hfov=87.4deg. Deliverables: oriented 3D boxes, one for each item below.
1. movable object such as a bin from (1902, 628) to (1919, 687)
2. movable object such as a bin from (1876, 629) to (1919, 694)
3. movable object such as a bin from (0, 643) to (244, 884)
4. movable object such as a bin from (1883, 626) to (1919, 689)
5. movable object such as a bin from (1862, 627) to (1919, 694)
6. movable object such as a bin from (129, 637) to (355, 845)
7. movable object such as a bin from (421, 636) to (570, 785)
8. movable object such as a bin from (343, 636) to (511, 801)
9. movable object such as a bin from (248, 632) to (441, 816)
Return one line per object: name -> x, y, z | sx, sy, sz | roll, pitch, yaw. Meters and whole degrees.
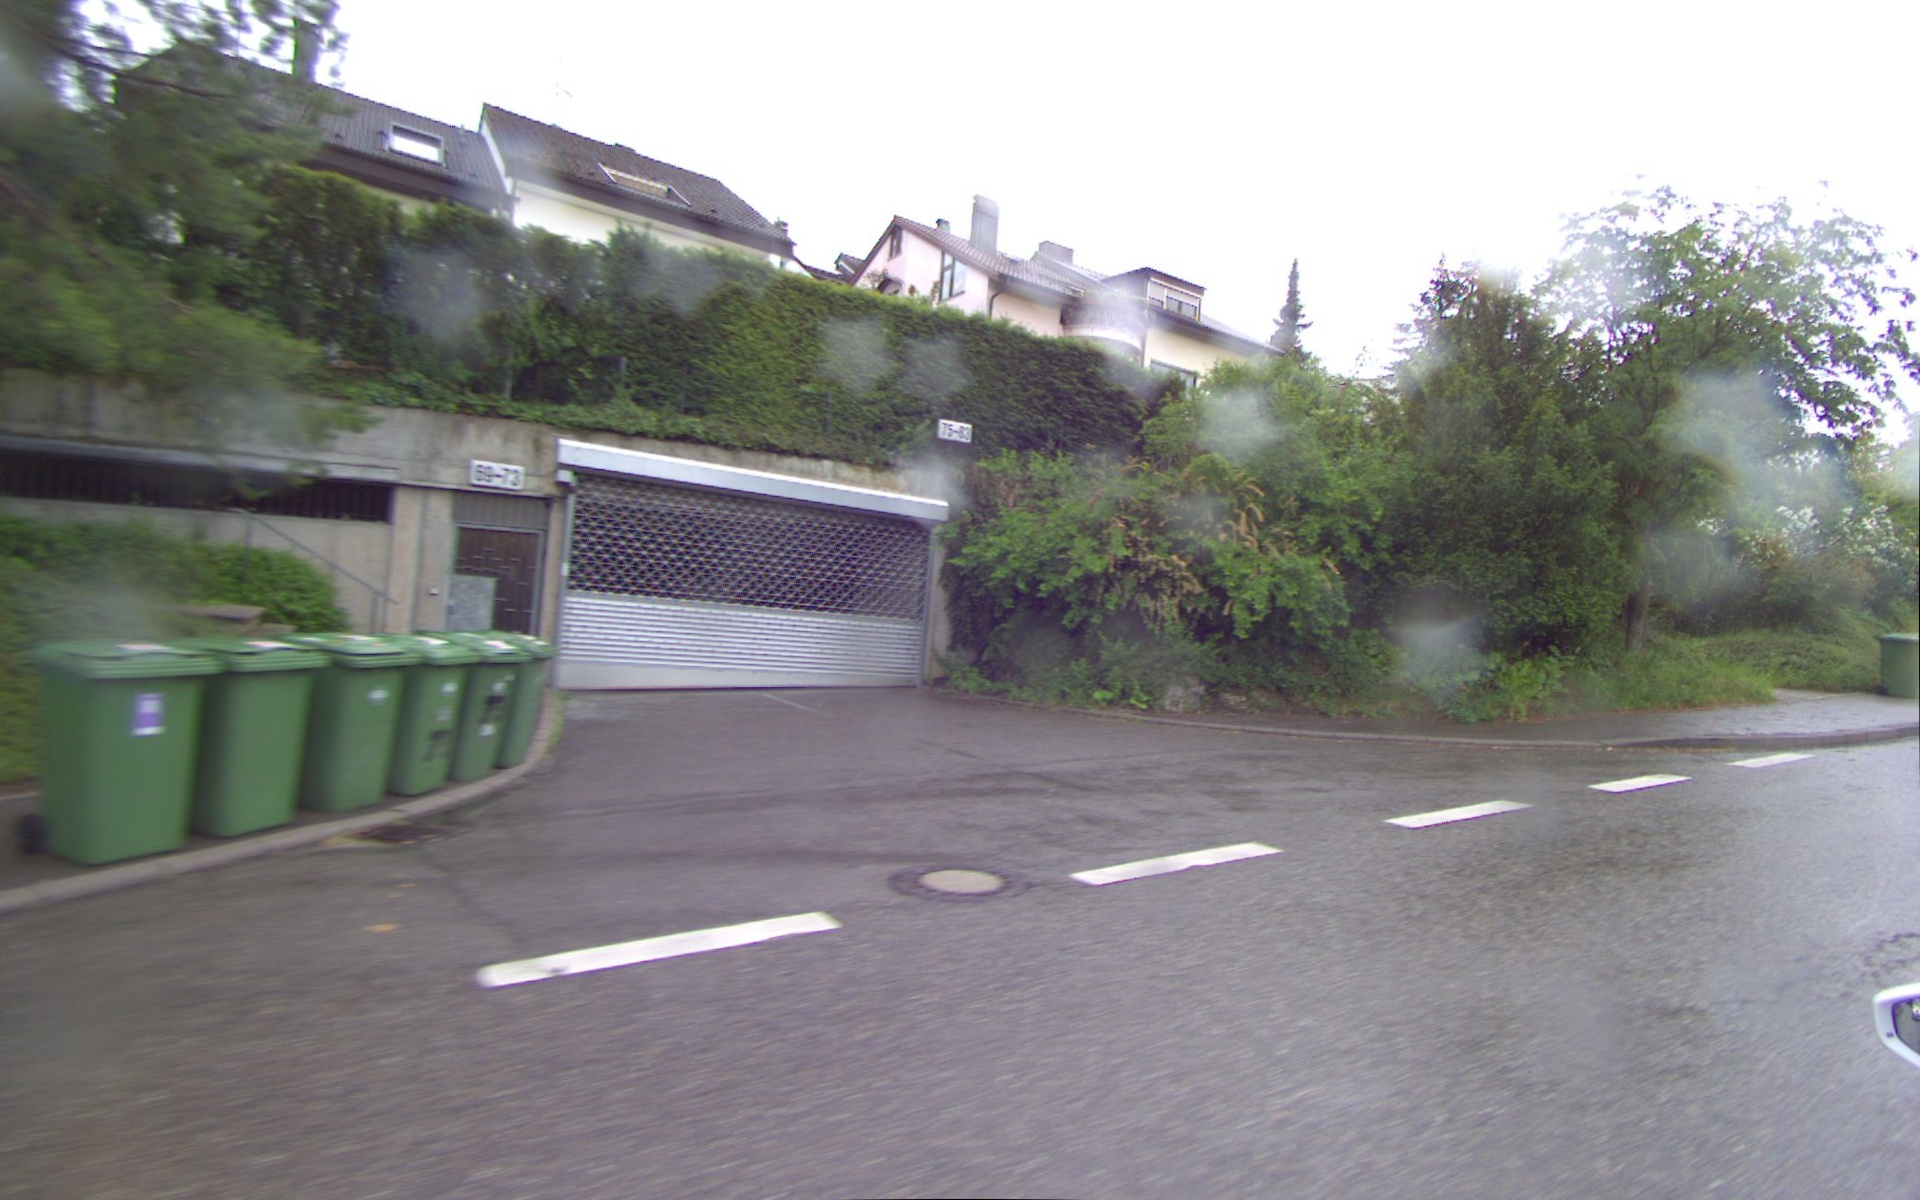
movable object such as a bin -> 18.122, 1.084, 18.697 | 0.685, 1.082, 0.762 | 1, 0, -40
movable object such as a bin -> 16.900, 1.088, 17.889 | 0.732, 1.111, 0.762 | 1, 0, -40
movable object such as a bin -> -4.332, 0.790, 5.153 | 0.764, 1.041, 0.720 | 4, 2, 12
movable object such as a bin -> 17.458, 1.050, 18.379 | 0.666, 1.111, 0.762 | 1, 0, -40
movable object such as a bin -> 16.259, 1.037, 17.466 | 0.732, 1.111, 0.762 | 1, 0, -40
movable object such as a bin -> -4.179, 0.781, 5.884 | 0.764, 1.041, 0.720 | 4, 2, 12
movable object such as a bin -> -3.708, 0.852, 8.052 | 0.764, 1.041, 0.720 | 4, 2, 12
movable object such as a bin -> -3.869, 0.830, 7.336 | 0.764, 1.041, 0.720 | 4, 2, 12
movable object such as a bin -> -4.023, 0.776, 6.603 | 0.764, 1.041, 0.720 | 4, 2, 12
